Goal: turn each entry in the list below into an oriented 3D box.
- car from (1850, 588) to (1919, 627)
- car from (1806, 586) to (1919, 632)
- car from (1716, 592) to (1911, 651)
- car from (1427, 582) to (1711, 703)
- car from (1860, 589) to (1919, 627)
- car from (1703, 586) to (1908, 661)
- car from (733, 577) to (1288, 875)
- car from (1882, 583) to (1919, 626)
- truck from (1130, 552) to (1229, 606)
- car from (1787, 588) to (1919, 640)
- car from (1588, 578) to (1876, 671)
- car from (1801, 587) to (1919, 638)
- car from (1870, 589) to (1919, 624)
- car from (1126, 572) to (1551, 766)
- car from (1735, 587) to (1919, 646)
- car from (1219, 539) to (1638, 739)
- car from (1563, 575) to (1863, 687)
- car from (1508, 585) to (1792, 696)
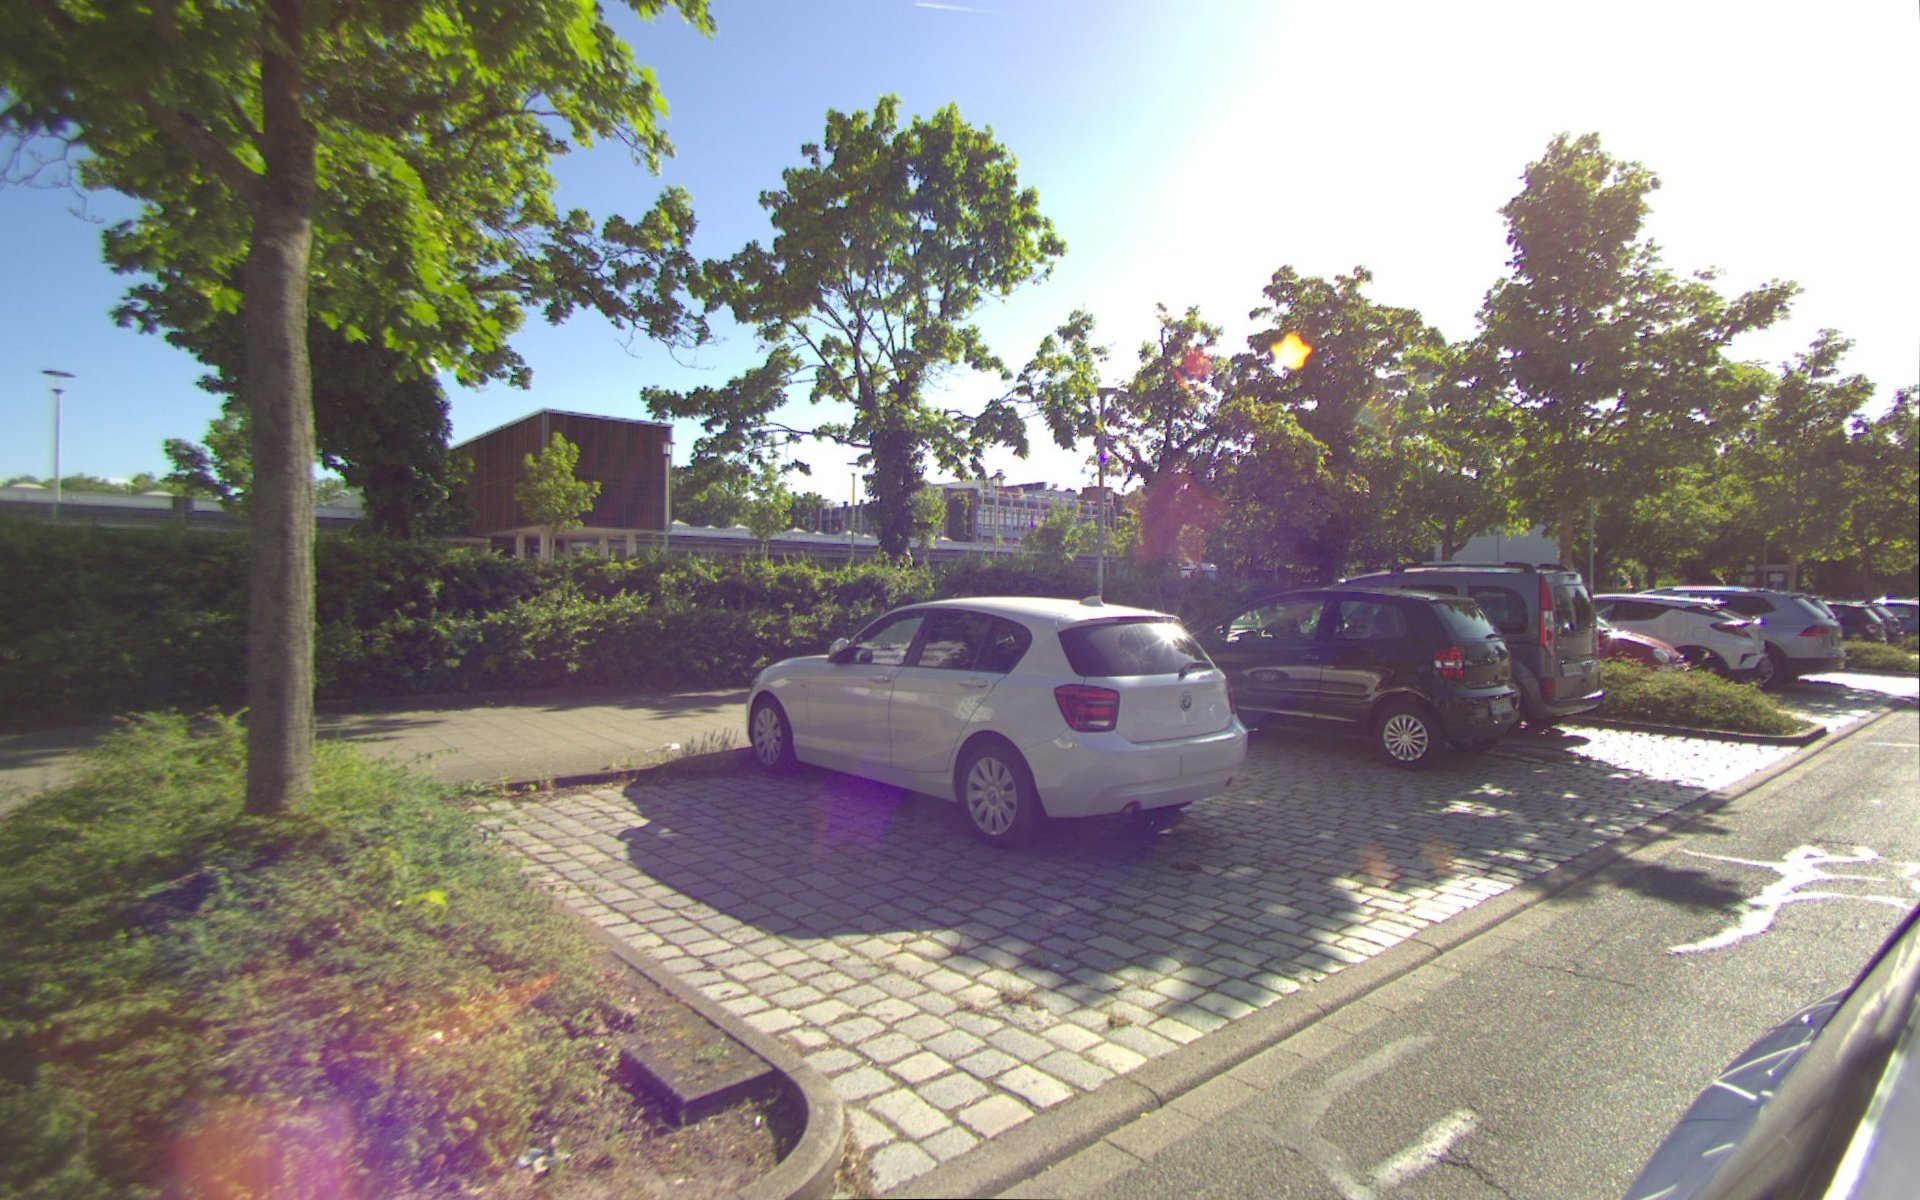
[{"bbox_3d":[36.971,0.299,38.961,1.644,1.444,3.904,-1,2,-42],"label":"car"},{"bbox_3d":[33.382,0.313,36.758,1.651,1.598,3.905,2,0,-42],"label":"car"},{"bbox_3d":[22.952,0.523,27.319,1.809,1.434,3.742,0,1,-39],"label":"car"},{"bbox_3d":[8.878,0.516,14.869,3.361,1.549,1.577,1,2,42],"label":"car"},{"bbox_3d":[39.263,0.350,41.067,1.777,1.454,3.905,1,2,-42],"label":"car"},{"bbox_3d":[19.691,0.487,23.664,1.717,1.507,3.458,-1,3,-42],"label":"car"},{"bbox_3d":[0.069,0.595,7.253,1.710,1.443,4.072,-1,2,-39],"label":"car"},{"bbox_3d":[43.826,0.234,44.866,1.847,1.869,4.163,0,2,-40],"label":"car"},{"bbox_3d":[16.241,-1.535,75.273,2.760,3.855,6.918,2,0,-38],"label":"truck"},{"bbox_3d":[28.242,0.421,31.313,1.593,1.486,3.905,2,0,-42],"label":"car"},{"bbox_3d":[15.239,0.392,20.155,1.880,1.628,4.324,0,1,-44],"label":"car"},{"bbox_3d":[30.125,0.400,32.803,1.707,1.538,4.192,0,1,-42],"label":"car"},{"bbox_3d":[41.410,0.318,42.830,1.798,1.423,4.161,0,2,-42],"label":"car"},{"bbox_3d":[3.617,0.539,10.103,1.677,1.569,3.611,2,0,-42],"label":"car"},{"bbox_3d":[24.842,0.421,28.985,1.809,1.516,3.904,0,1,-39],"label":"car"},{"bbox_3d":[5.430,0.365,12.118,1.944,1.952,4.124,2,0,-42],"label":"car"},{"bbox_3d":[12.988,0.455,17.610,1.907,1.717,3.904,2,0,-42],"label":"car"},{"bbox_3d":[10.908,0.564,16.133,3.498,1.549,1.710,1,0,45],"label":"car"}]
